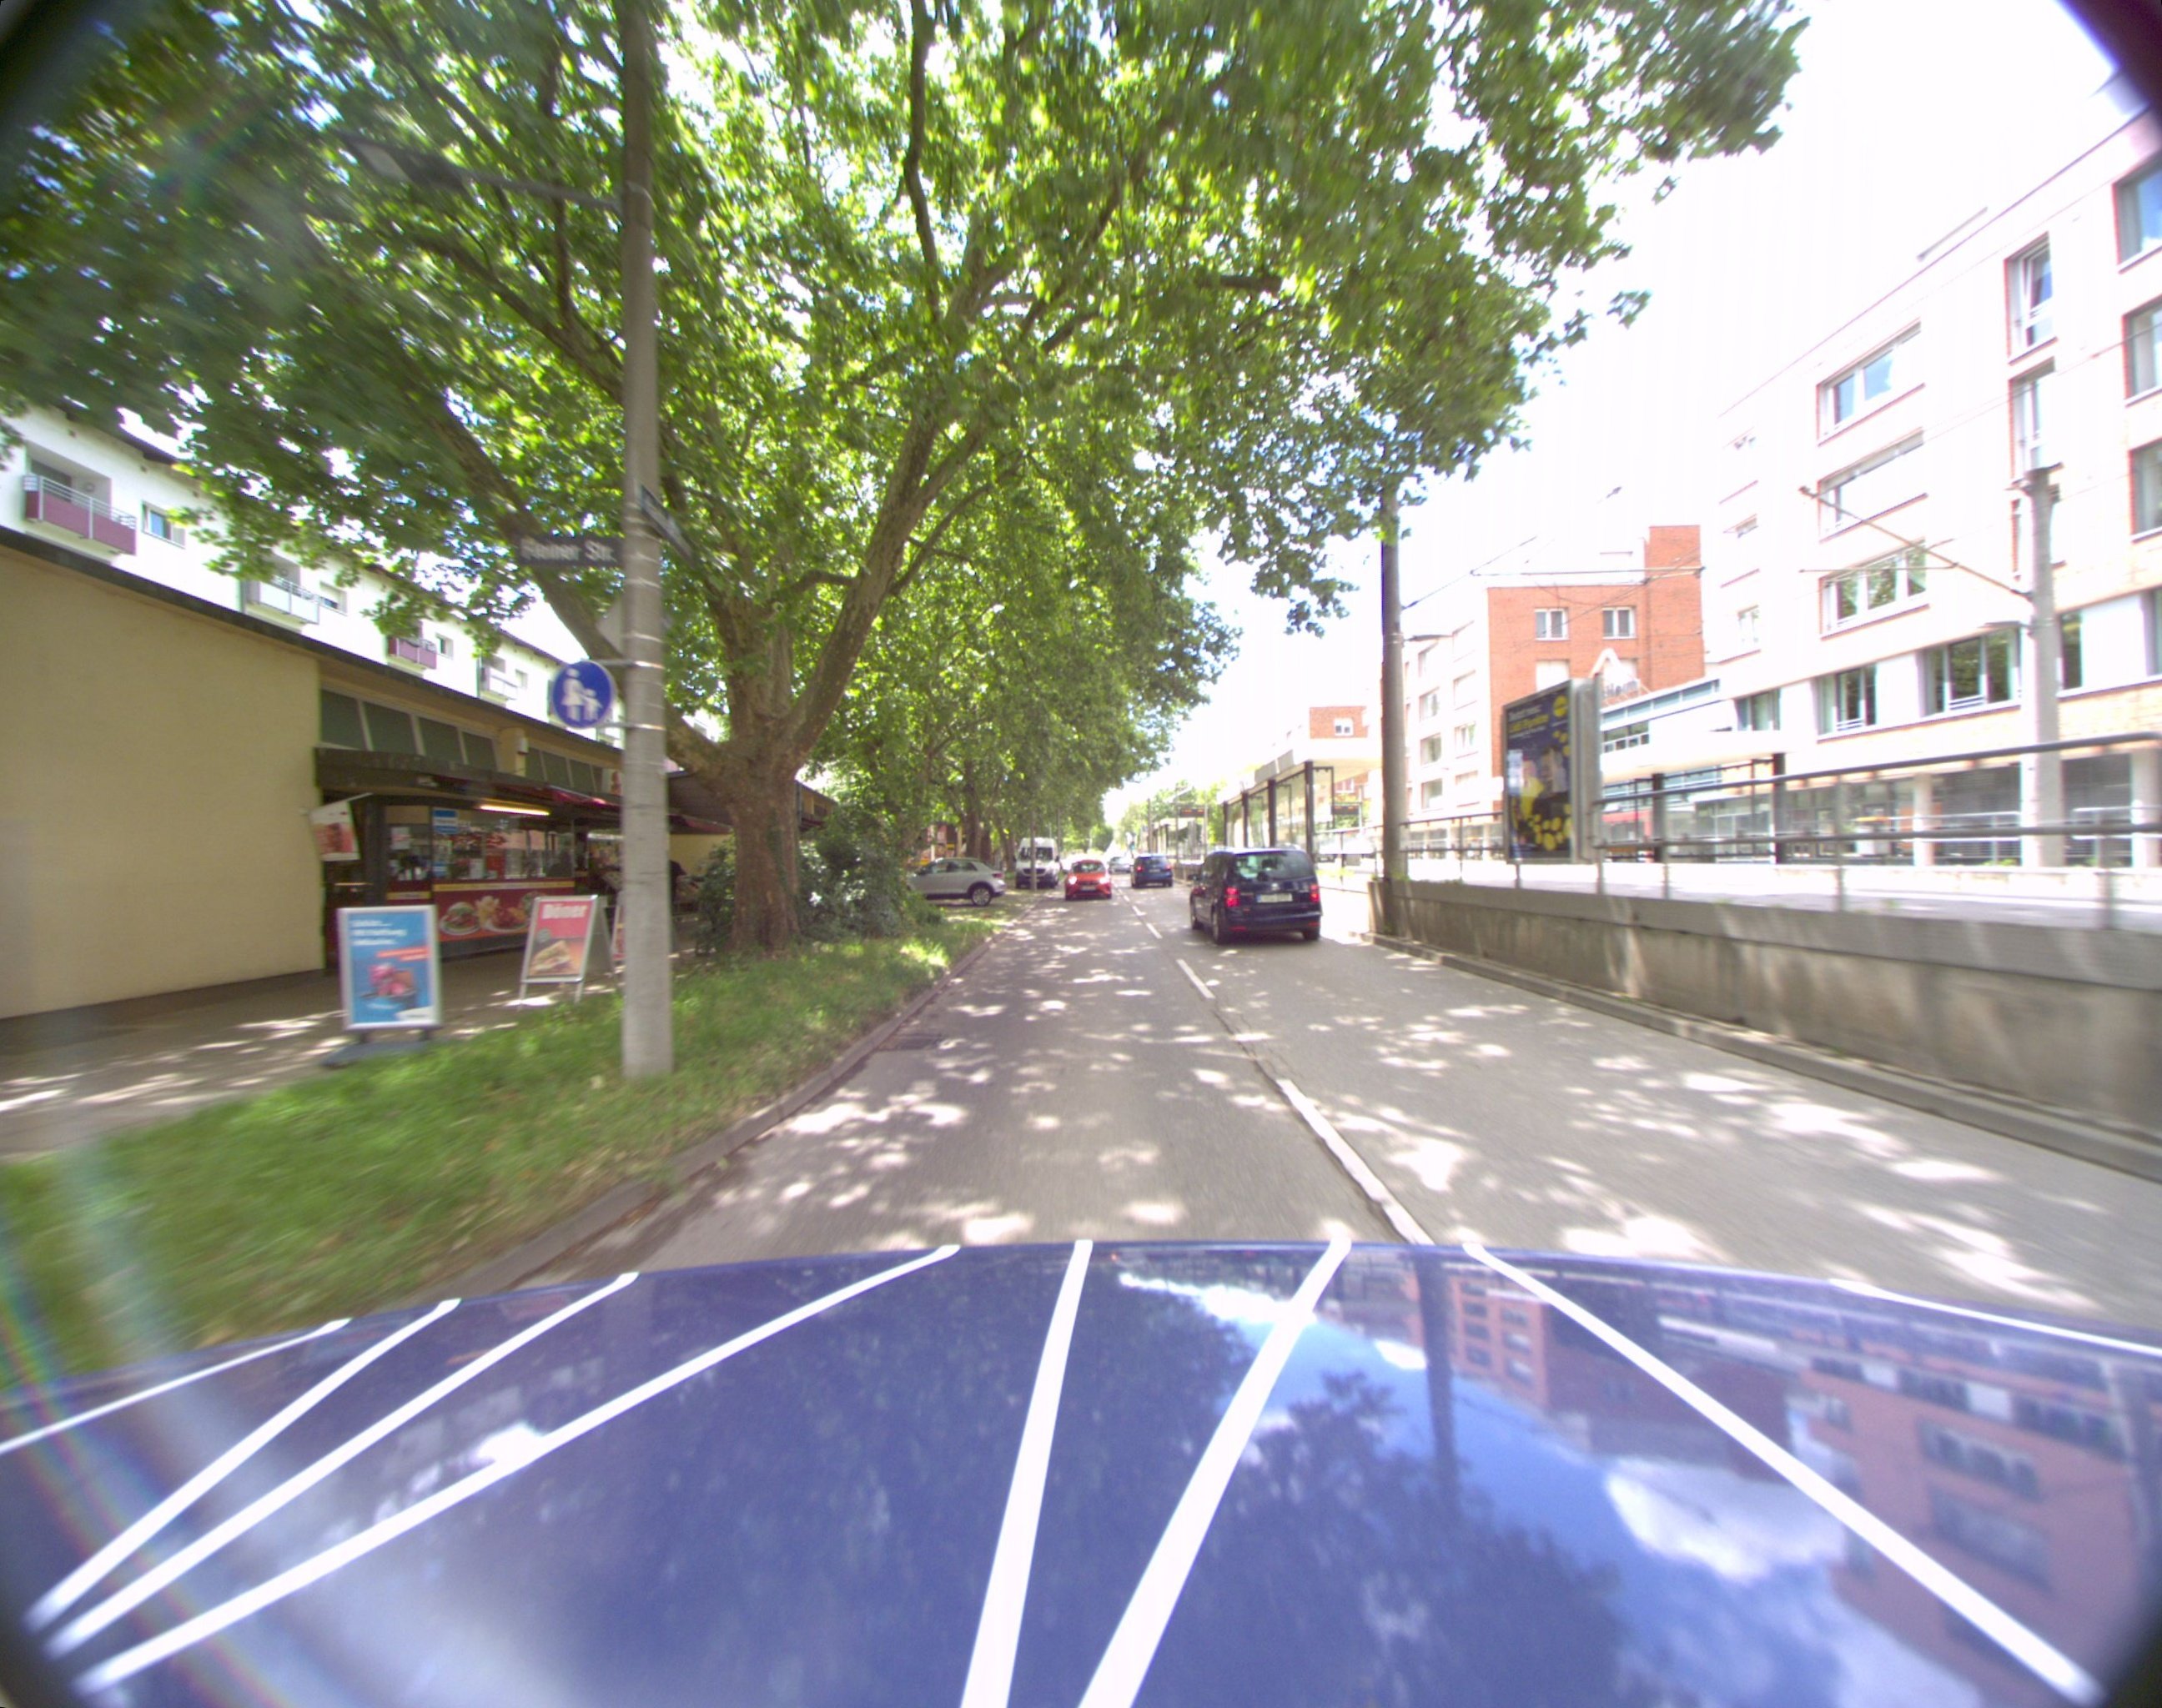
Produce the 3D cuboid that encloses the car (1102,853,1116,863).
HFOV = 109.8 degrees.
[{"bbox_3d":[3.975,0.585,107.340,1.736,1.388,3.751,0,0,-1],"label":"car"}]

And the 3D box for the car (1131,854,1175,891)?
[{"bbox_3d":[3.372,0.842,36.171,1.700,1.555,3.860,-2,1,1],"label":"car"}]

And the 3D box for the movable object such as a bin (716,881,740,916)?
[{"bbox_3d":[-9.700,1.211,20.872,0.438,0.909,0.587,0,0,-8],"label":"movable object such as a bin"}]

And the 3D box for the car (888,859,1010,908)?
[{"bbox_3d":[-4.255,0.935,24.939,3.841,1.553,1.619,0,0,-6],"label":"car"}]

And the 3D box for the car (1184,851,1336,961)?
[{"bbox_3d":[3.063,0.802,13.849,1.758,1.624,4.119,-3,0,0],"label":"car"}]

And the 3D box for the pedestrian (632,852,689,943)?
[{"bbox_3d":[-8.072,0.818,14.609,0.761,1.714,0.658,0,0,-3],"label":"pedestrian"}]

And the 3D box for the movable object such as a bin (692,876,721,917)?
[{"bbox_3d":[-10.229,1.155,20.762,0.520,1.062,0.708,0,0,-9],"label":"movable object such as a bin"}]

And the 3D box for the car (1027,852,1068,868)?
[{"bbox_3d":[-3.494,0.596,79.415,4.038,1.602,1.731,0,0,5],"label":"car"}]

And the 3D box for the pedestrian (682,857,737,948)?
[{"bbox_3d":[-7.038,0.896,14.417,0.625,1.666,0.772,-1,1,1],"label":"pedestrian"}]

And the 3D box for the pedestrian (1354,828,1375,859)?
[{"bbox_3d":[14.939,-0.553,40.046,0.753,1.619,0.816,-2,0,1],"label":"pedestrian"}]

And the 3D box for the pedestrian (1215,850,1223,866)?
[{"bbox_3d":[16.408,0.464,90.542,0.745,1.814,0.829,-1,0,0],"label":"pedestrian"}]

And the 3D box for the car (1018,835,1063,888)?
[{"bbox_3d":[-2.060,0.375,40.383,1.909,2.566,6.834,0,0,1],"label":"car"}]

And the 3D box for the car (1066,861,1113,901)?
[{"bbox_3d":[0.334,1.016,29.865,1.712,1.439,3.670,-1,0,1],"label":"car"}]

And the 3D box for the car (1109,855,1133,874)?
[{"bbox_3d":[3.380,0.905,64.780,1.766,1.472,4.576,-3,0,0],"label":"car"}]

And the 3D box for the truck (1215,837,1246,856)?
[{"bbox_3d":[32.947,-1.538,166.777,2.623,4.069,9.629,0,0,38],"label":"truck"}]
